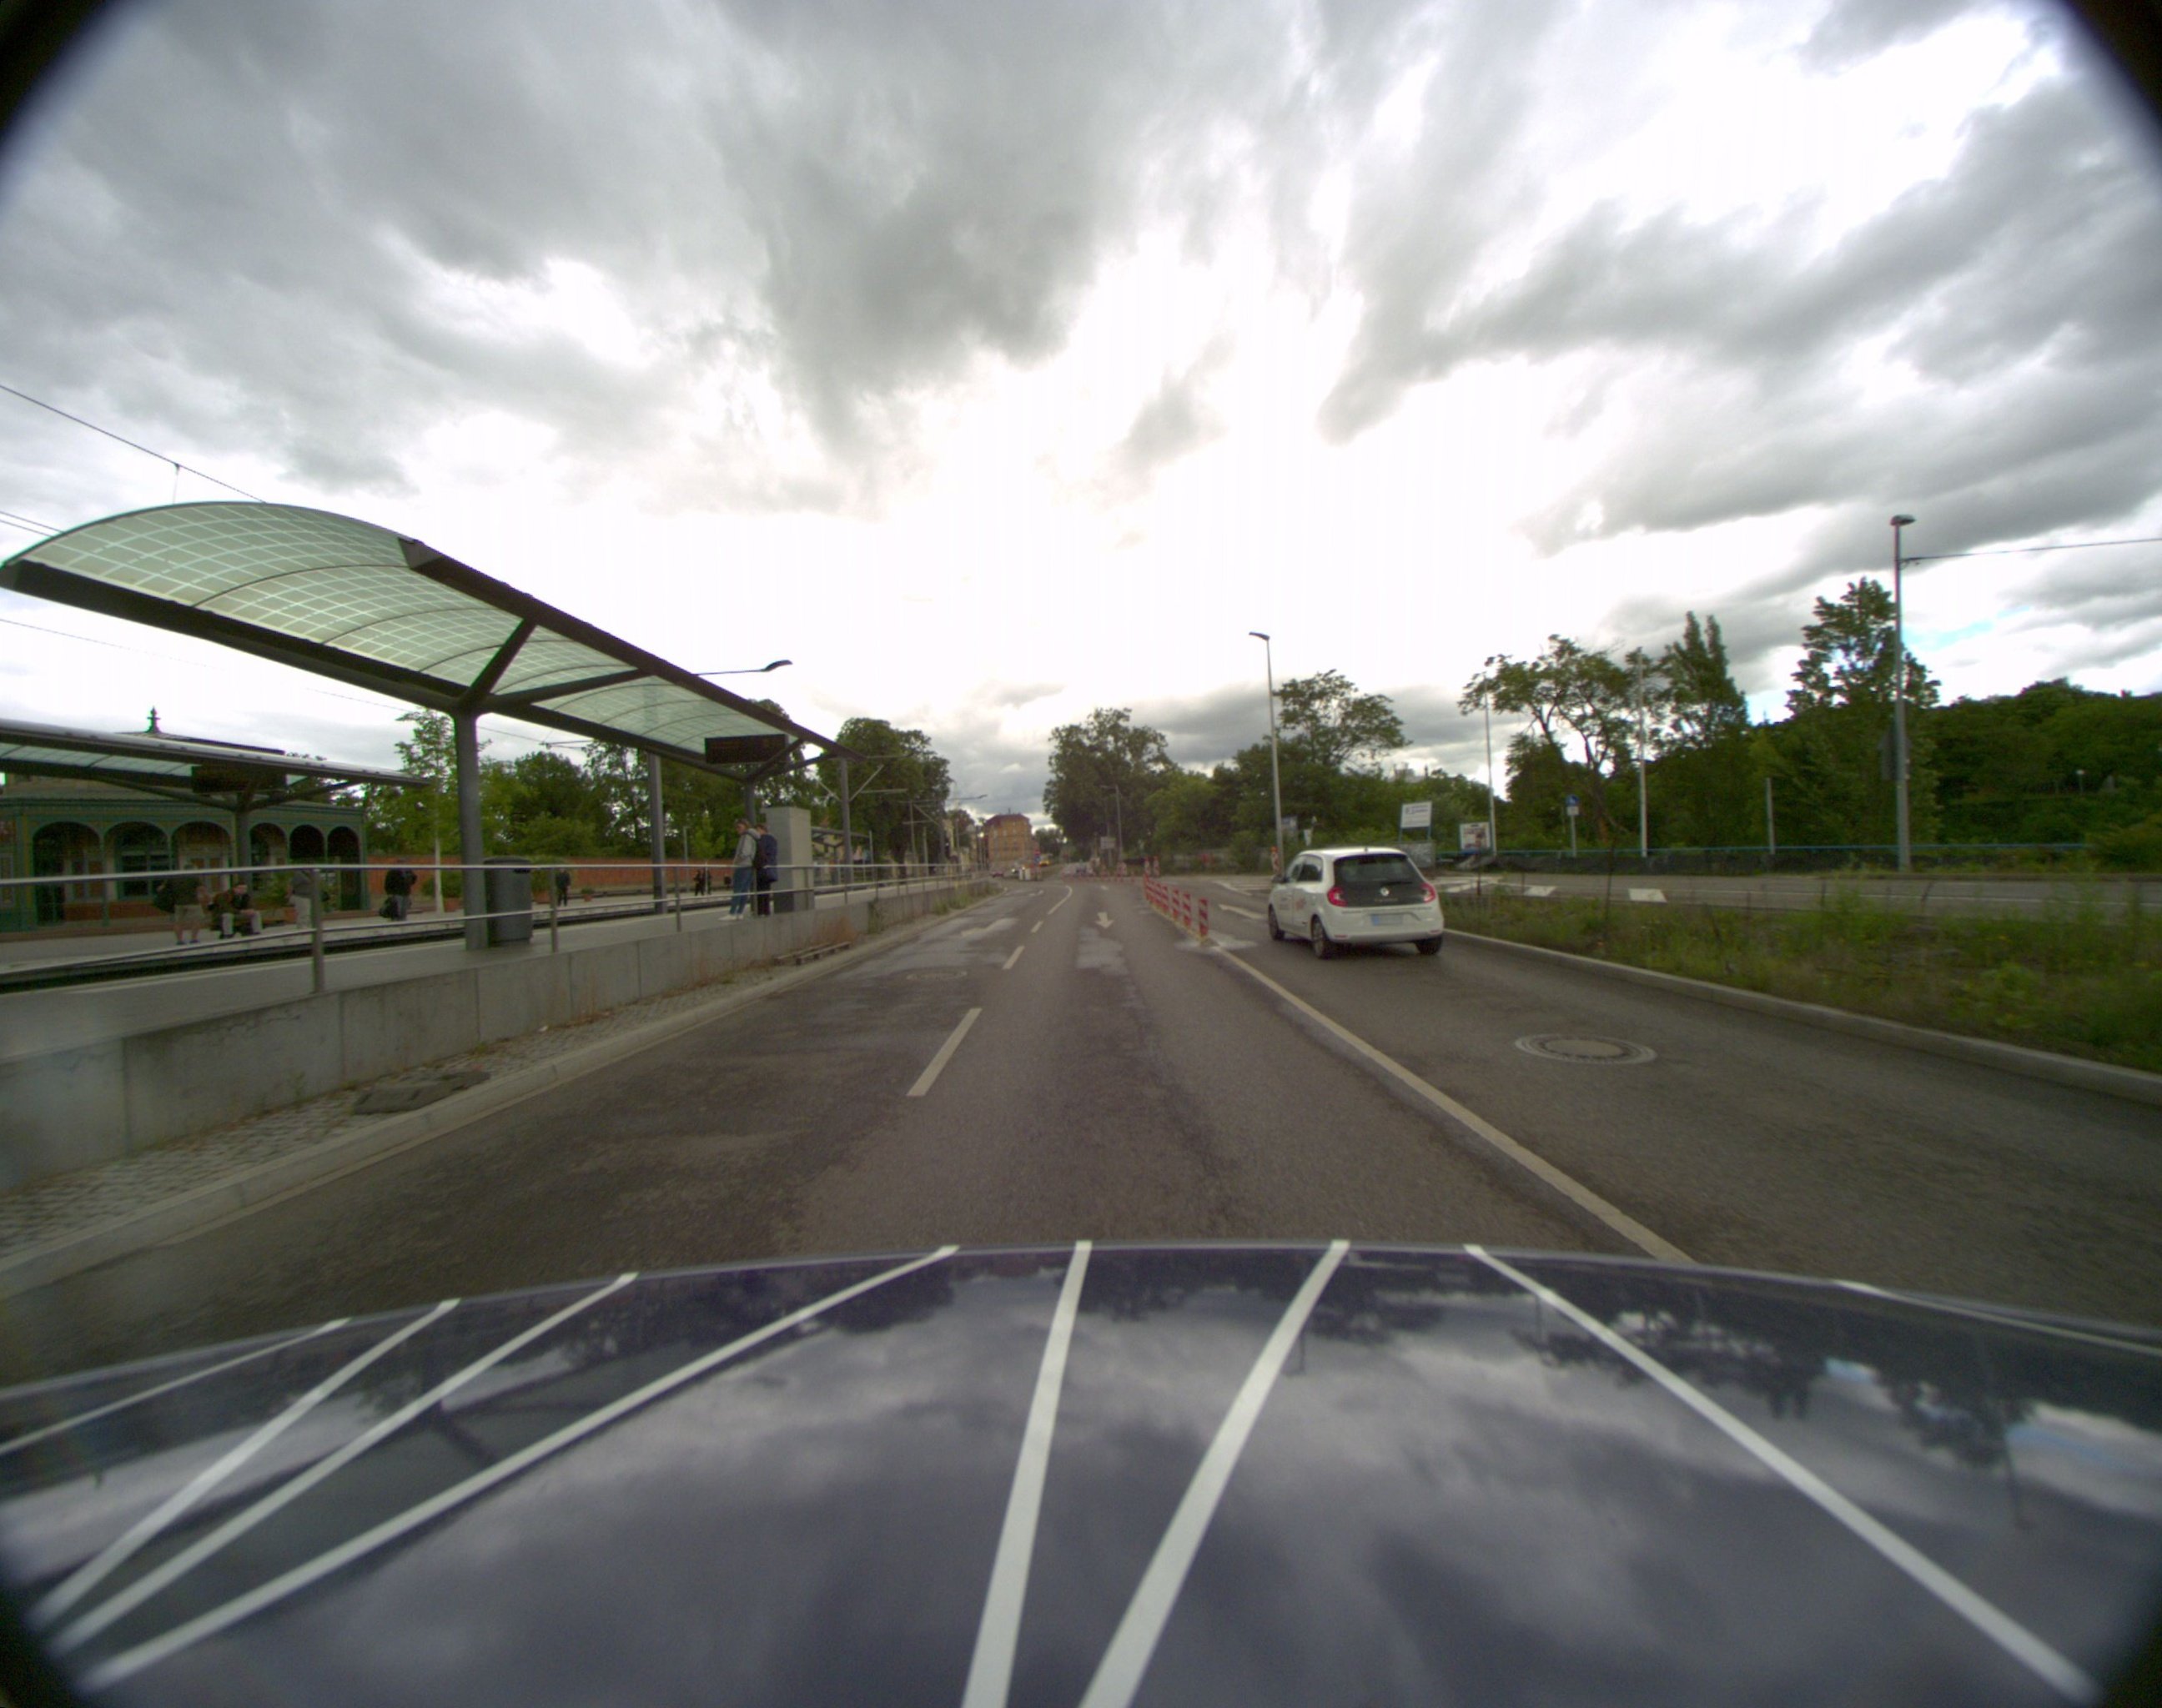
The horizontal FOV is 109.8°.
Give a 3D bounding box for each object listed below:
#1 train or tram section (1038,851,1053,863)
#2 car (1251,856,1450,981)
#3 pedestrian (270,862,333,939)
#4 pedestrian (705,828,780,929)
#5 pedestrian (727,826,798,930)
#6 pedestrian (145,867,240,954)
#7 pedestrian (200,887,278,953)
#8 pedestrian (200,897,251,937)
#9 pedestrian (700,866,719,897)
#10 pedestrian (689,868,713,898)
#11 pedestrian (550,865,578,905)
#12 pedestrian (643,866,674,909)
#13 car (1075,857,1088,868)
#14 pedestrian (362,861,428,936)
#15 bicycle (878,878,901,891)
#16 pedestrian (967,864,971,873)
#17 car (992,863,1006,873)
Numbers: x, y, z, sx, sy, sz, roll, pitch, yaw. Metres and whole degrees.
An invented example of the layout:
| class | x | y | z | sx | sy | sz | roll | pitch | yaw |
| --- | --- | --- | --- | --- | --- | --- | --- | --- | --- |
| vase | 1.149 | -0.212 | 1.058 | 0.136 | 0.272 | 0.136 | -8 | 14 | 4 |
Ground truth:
| class | x | y | z | sx | sy | sz | roll | pitch | yaw |
| --- | --- | --- | --- | --- | --- | --- | --- | --- | --- |
| train or tram section | -10.199 | 0.792 | 220.610 | 3.739 | 3.346 | 17.553 | -3 | 0 | -1 |
| car | 3.967 | 0.842 | 11.930 | 1.595 | 1.508 | 4.084 | -3 | 0 | 0 |
| pedestrian | -17.187 | 1.018 | 16.773 | 0.525 | 1.610 | 0.676 | -6 | 0 | 2 |
| pedestrian | -5.534 | 0.402 | 12.457 | 0.752 | 1.544 | 0.775 | -6 | -2 | 2 |
| pedestrian | -5.540 | 0.423 | 13.237 | 0.772 | 1.689 | 0.732 | -6 | -2 | 2 |
| pedestrian | -18.174 | 1.137 | 15.568 | 0.863 | 1.667 | 0.761 | -6 | 0 | -10 |
| pedestrian | -16.636 | 1.298 | 15.028 | 0.659 | 1.184 | 0.676 | -6 | 0 | 2 |
| pedestrian | -17.761 | 1.306 | 15.778 | 0.562 | 0.736 | 0.424 | -5 | 0 | 10 |
| pedestrian | -20.267 | 1.505 | 41.429 | 0.487 | 1.650 | 0.628 | -5 | 0 | 9 |
| pedestrian | -20.978 | 1.594 | 41.916 | 0.741 | 1.591 | 0.772 | -5 | 0 | 9 |
| pedestrian | -24.333 | 1.432 | 35.776 | 0.549 | 1.827 | 0.952 | -6 | 0 | -6 |
| pedestrian | -17.462 | 1.385 | 31.398 | 0.634 | 1.677 | 0.866 | -6 | 0 | 0 |
| car | 0.043 | 1.581 | 138.858 | 1.869 | 1.771 | 4.747 | -4 | 0 | -4 |
| pedestrian | -17.674 | 1.121 | 19.590 | 0.634 | 1.827 | 0.950 | -6 | 0 | 2 |
| bicycle | -18.837 | 2.958 | 74.647 | 1.995 | 1.151 | 0.741 | -3 | 0 | 5 |
| pedestrian | -22.407 | 2.990 | 151.874 | 0.672 | 1.757 | 0.937 | -3 | 0 | 0 |
| car | -13.046 | 2.210 | 121.659 | 1.681 | 1.433 | 4.119 | -6 | 0 | -1 |
